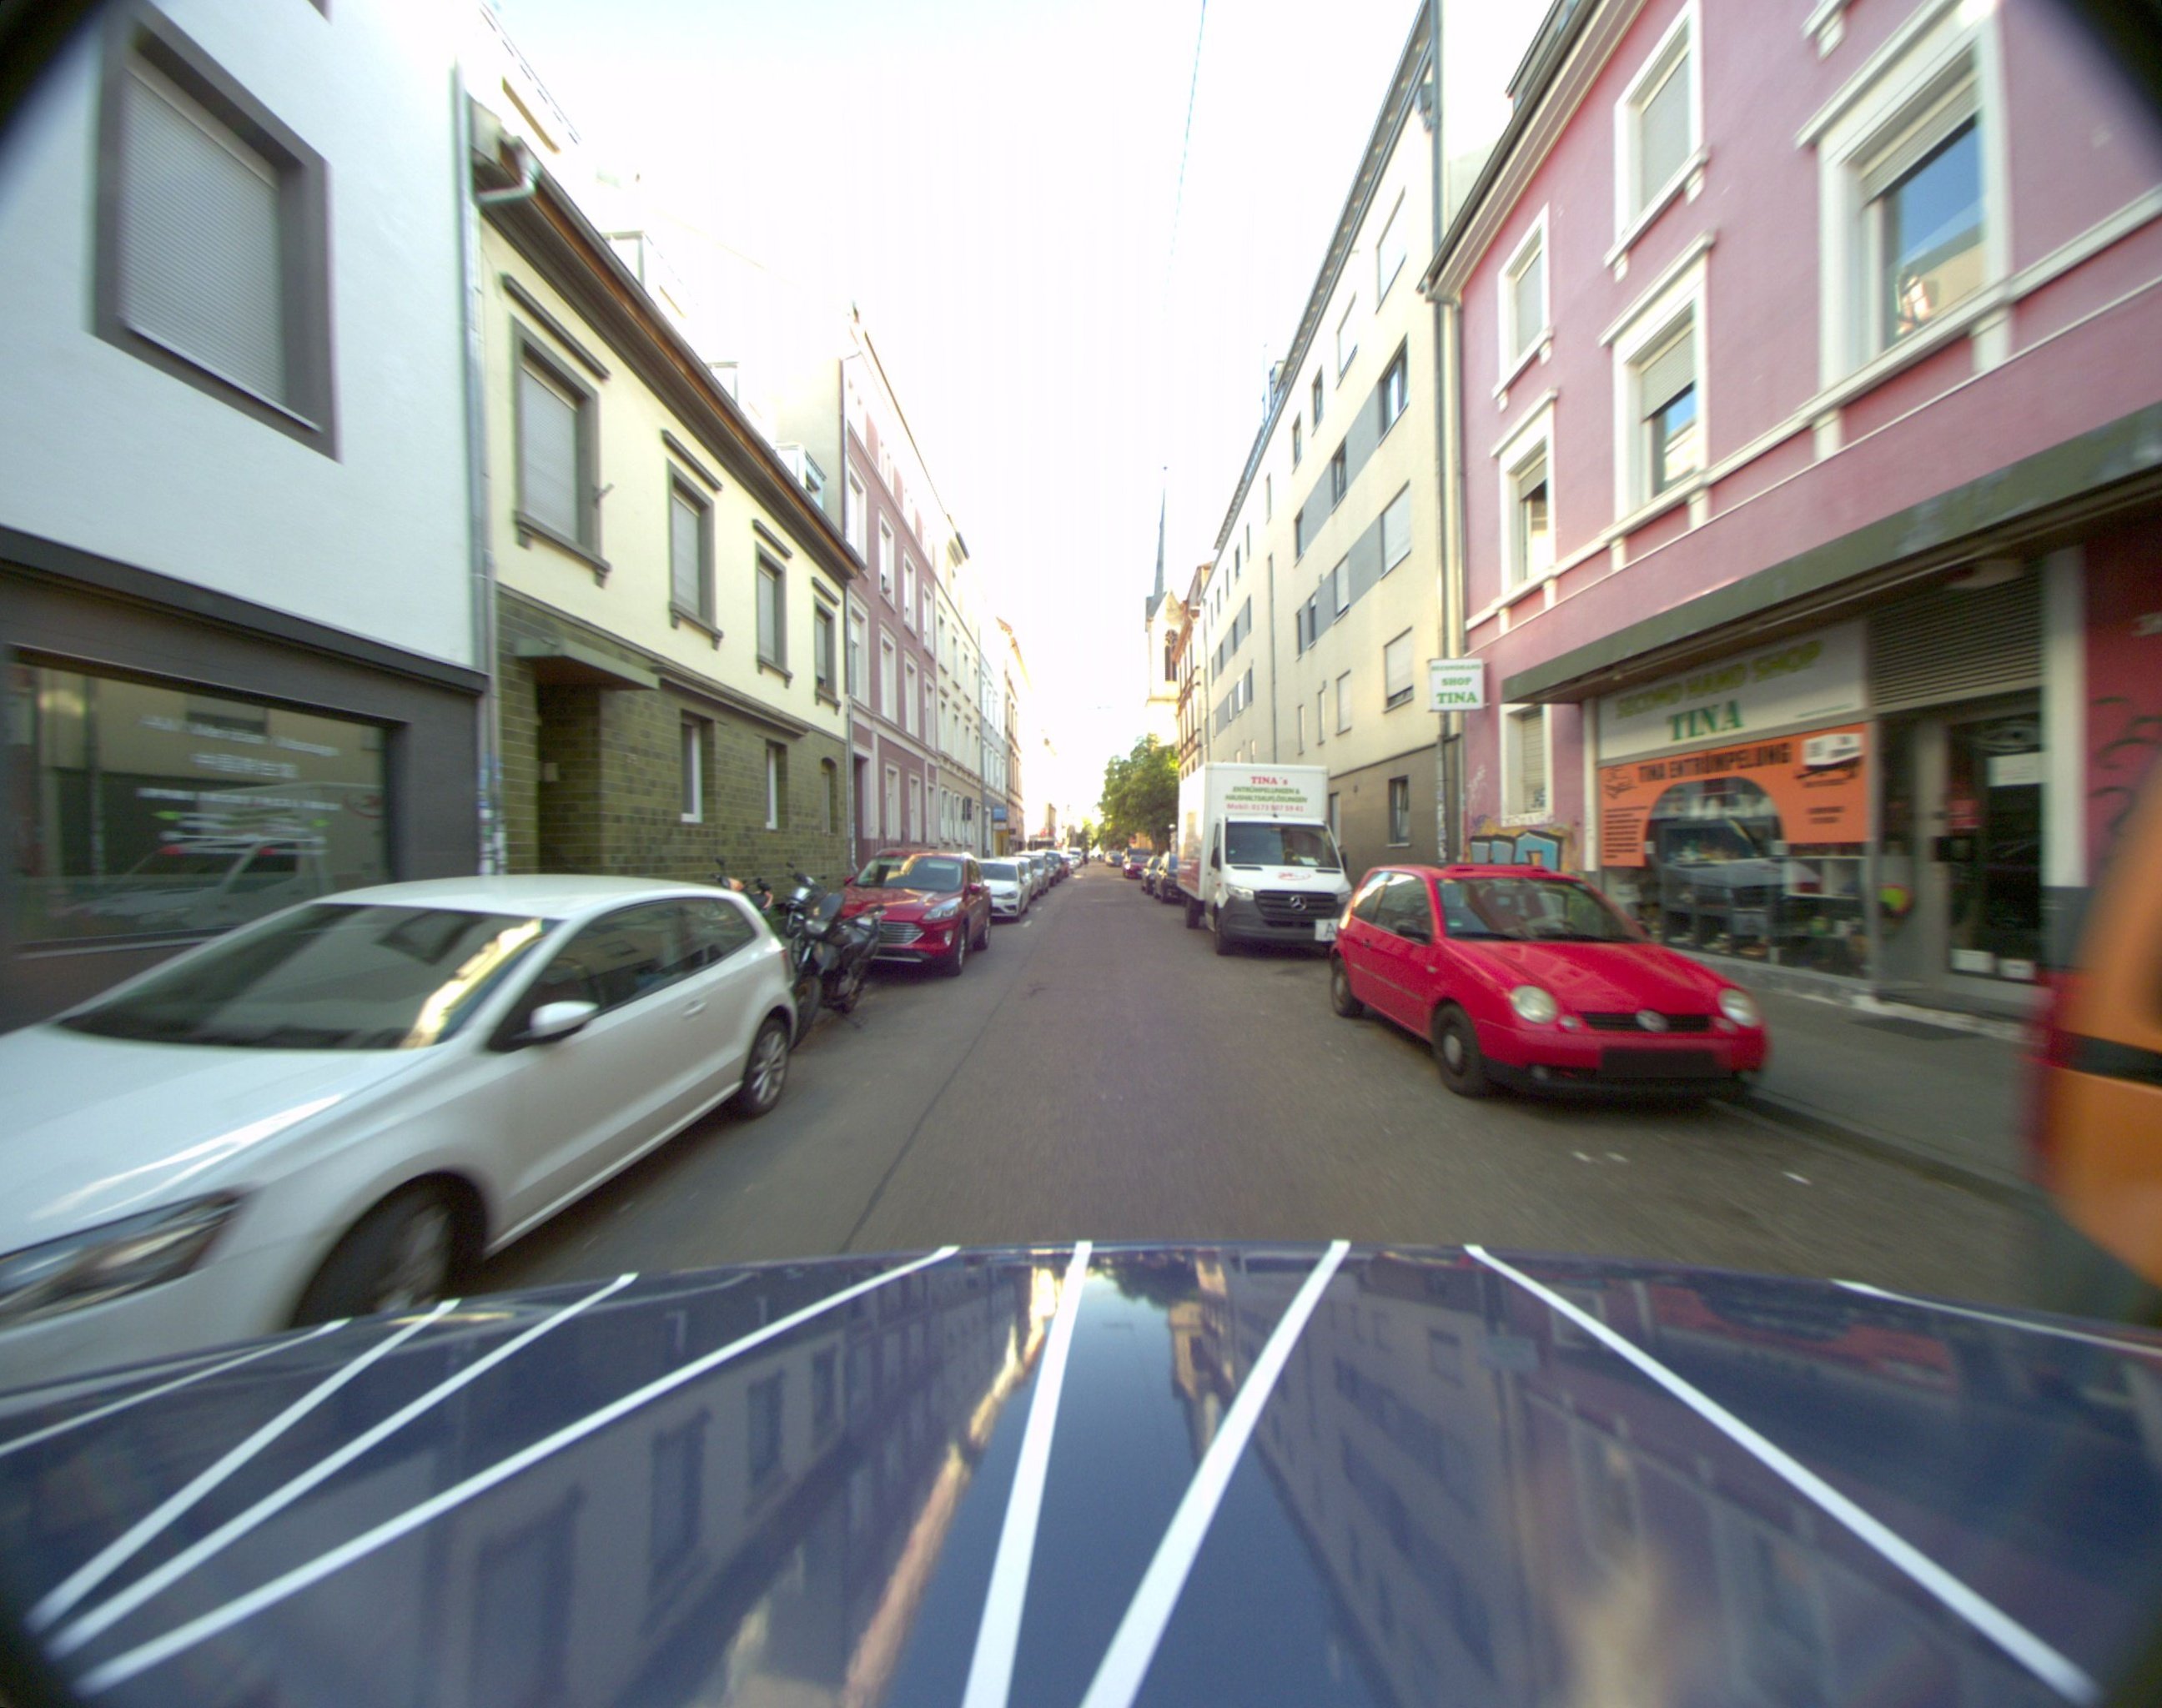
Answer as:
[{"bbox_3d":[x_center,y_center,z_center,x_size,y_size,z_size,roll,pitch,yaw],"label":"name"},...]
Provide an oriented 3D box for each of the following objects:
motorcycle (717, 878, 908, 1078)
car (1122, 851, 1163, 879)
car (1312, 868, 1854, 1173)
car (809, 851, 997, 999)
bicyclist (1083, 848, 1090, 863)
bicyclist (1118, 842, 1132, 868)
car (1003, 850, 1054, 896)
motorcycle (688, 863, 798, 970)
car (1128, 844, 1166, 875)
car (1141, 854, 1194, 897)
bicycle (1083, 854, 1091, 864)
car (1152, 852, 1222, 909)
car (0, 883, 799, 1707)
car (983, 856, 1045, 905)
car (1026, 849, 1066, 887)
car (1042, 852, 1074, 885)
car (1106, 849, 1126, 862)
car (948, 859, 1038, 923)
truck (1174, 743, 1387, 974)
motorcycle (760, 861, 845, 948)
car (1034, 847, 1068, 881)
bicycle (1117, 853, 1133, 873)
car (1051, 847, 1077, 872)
[{"bbox_3d":[-2.376,1.016,7.129,0.990,1.481,2.267,0,1,0],"label":"motorcycle"},{"bbox_3d":[3.710,0.621,46.588,1.927,1.522,4.562,-2,1,-2],"label":"car"},{"bbox_3d":[3.121,0.890,5.720,1.687,1.458,3.659,0,1,1],"label":"car"},{"bbox_3d":[-2.391,0.847,11.329,1.713,1.721,4.407,0,1,1],"label":"car"},{"bbox_3d":[0.682,0.192,88.416,0.716,1.650,0.877,-2,1,-1],"label":"bicyclist"},{"bbox_3d":[3.940,0.043,68.631,1.020,2.280,1.531,-2,1,-4],"label":"bicyclist"},{"bbox_3d":[-2.078,0.697,30.902,1.713,1.721,4.220,0,1,1],"label":"car"},{"bbox_3d":[-5.020,0.872,11.452,0.667,1.388,2.037,-2,1,1],"label":"motorcycle"},{"bbox_3d":[4.550,0.341,52.834,1.999,2.002,4.562,-2,1,-2],"label":"car"},{"bbox_3d":[3.354,0.804,30.068,1.687,1.482,3.914,2,1,1],"label":"car"},{"bbox_3d":[0.694,0.575,88.570,0.729,1.173,2.488,-2,1,-1],"label":"bicycle"},{"bbox_3d":[3.282,0.775,24.275,1.687,1.579,3.914,2,1,1],"label":"car"},{"bbox_3d":[-2.732,0.968,3.223,1.620,1.495,3.772,0,1,1],"label":"car"},{"bbox_3d":[-2.202,0.834,25.704,1.612,1.444,3.881,0,1,2],"label":"car"},{"bbox_3d":[-1.662,0.634,37.596,1.713,1.721,4.220,0,1,1],"label":"car"},{"bbox_3d":[-1.565,0.942,51.741,1.999,2.002,4.563,-2,1,-1],"label":"car"},{"bbox_3d":[4.174,0.172,91.602,1.927,1.522,4.562,-2,1,-2],"label":"car"},{"bbox_3d":[-2.122,0.857,19.336,1.612,1.388,3.882,0,1,3],"label":"car"},{"bbox_3d":[3.171,0.029,13.975,2.296,3.165,7.044,0,1,2],"label":"truck"},{"bbox_3d":[-4.950,0.844,13.678,0.697,1.388,2.037,-2,1,1],"label":"motorcycle"},{"bbox_3d":[-1.649,0.537,42.963,1.713,1.802,4.220,0,1,1],"label":"car"},{"bbox_3d":[3.948,0.789,68.788,1.020,1.641,3.546,-2,1,-4],"label":"bicycle"},{"bbox_3d":[-1.483,0.418,63.563,1.999,2.002,4.562,-2,1,-2],"label":"car"}]
